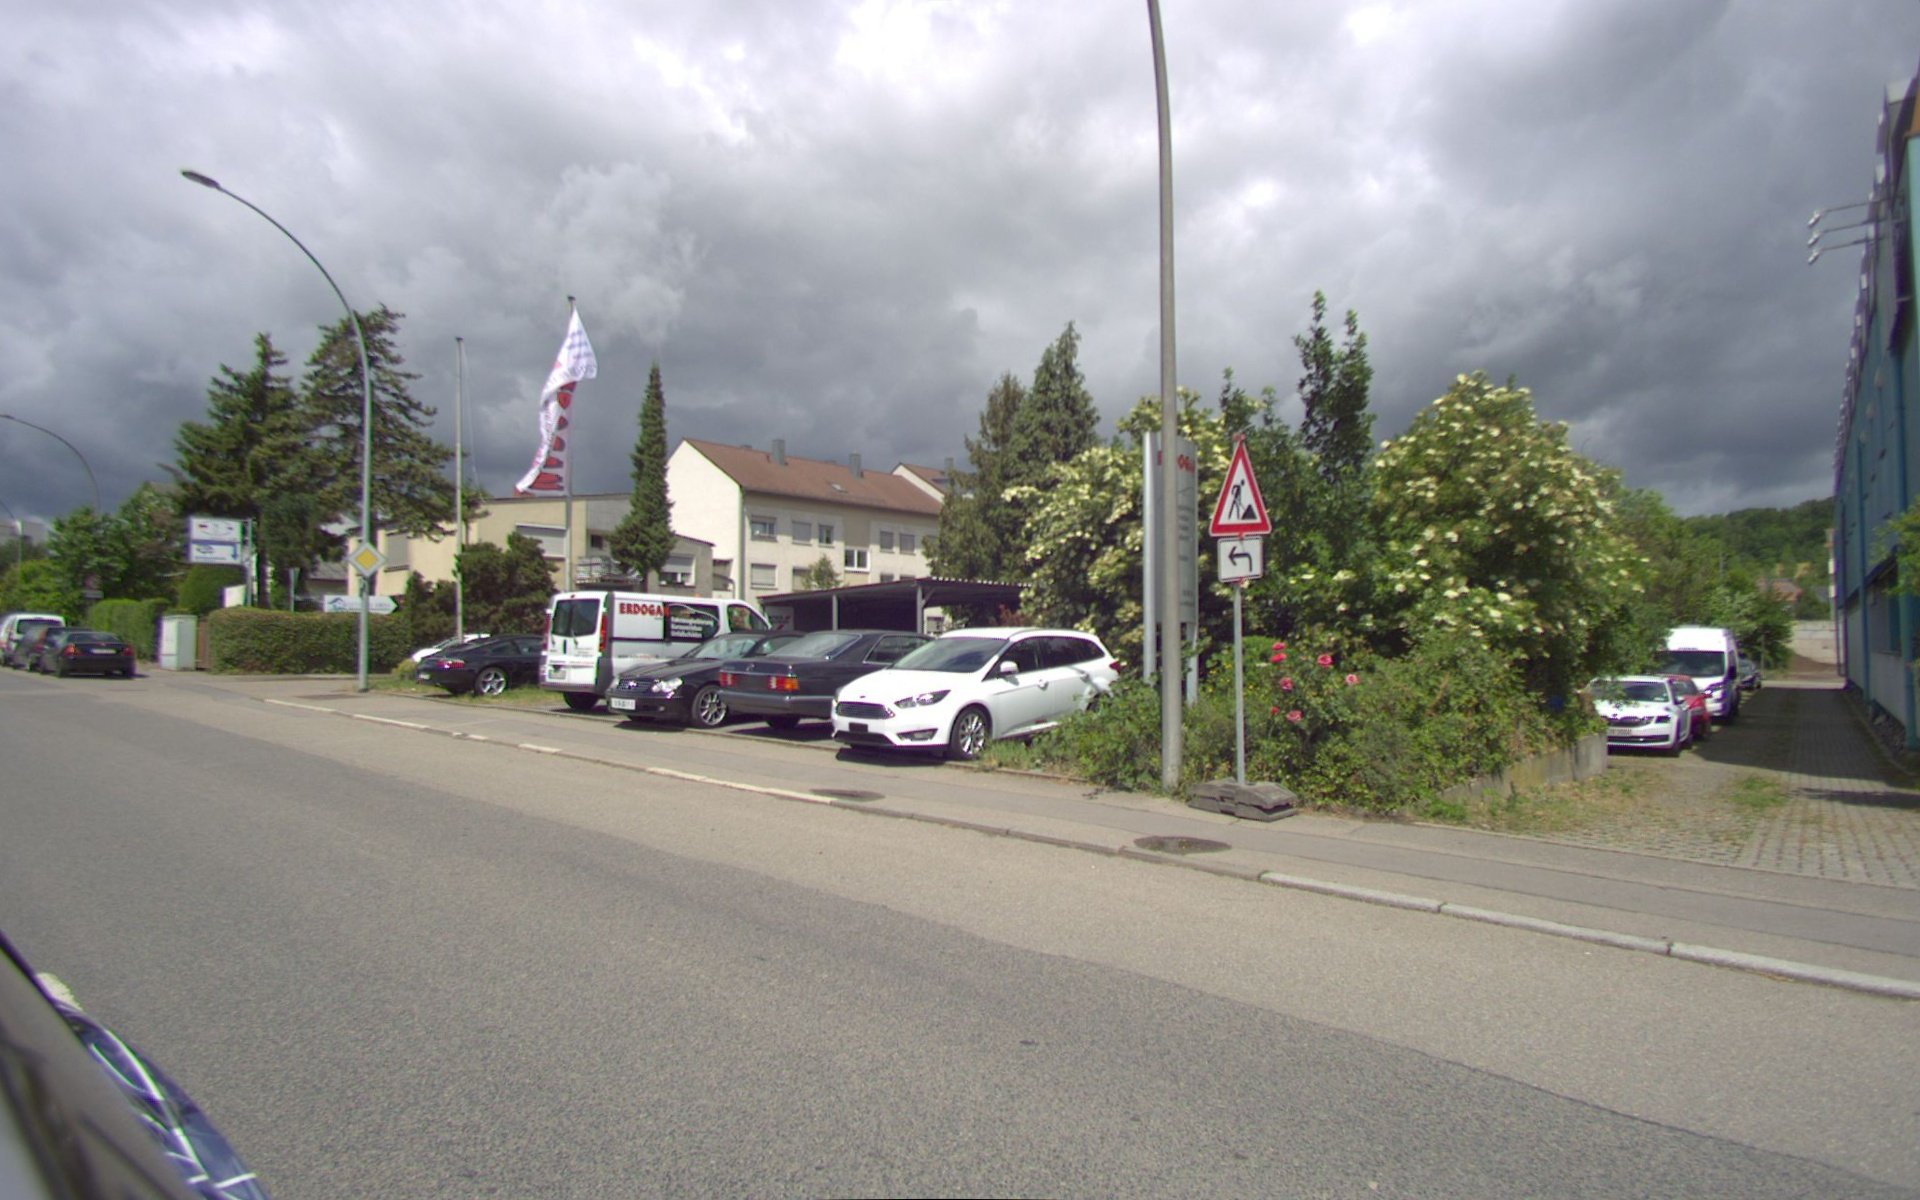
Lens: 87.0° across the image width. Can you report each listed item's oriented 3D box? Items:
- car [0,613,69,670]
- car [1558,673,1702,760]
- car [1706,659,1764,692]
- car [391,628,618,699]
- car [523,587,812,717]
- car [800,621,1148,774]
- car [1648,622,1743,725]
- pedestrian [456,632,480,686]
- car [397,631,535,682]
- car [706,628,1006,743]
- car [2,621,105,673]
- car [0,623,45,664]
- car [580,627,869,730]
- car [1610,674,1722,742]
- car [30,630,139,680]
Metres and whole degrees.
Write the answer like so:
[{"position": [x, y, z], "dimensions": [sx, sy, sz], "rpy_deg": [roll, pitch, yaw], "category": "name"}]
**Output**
[{"position": [-33.139, 1.480, 35.747], "dimensions": [4.352, 1.852, 1.726], "rpy_deg": [-2, -6, 40], "category": "car"}, {"position": [12.910, 2.135, 19.406], "dimensions": [1.997, 1.398, 3.949], "rpy_deg": [-2, -4, 38], "category": "car"}, {"position": [35.260, 3.402, 46.087], "dimensions": [1.997, 1.398, 3.949], "rpy_deg": [-2, -4, 38], "category": "car"}, {"position": [-9.489, 1.271, 21.314], "dimensions": [1.870, 1.213, 3.947], "rpy_deg": [-2, -1, 39], "category": "car"}, {"position": [-5.032, 0.890, 18.016], "dimensions": [2.112, 1.987, 4.607], "rpy_deg": [-2, -3, 37], "category": "car"}, {"position": [0.347, 1.037, 12.305], "dimensions": [1.871, 1.489, 4.328], "rpy_deg": [0, -2, 41], "category": "car"}, {"position": [21.029, 2.053, 28.905], "dimensions": [1.997, 2.685, 4.239], "rpy_deg": [-2, -4, 38], "category": "car"}, {"position": [-16.166, 1.924, 33.270], "dimensions": [0.621, 1.747, 0.686], "rpy_deg": [3, -3, -28], "category": "pedestrian"}, {"position": [-15.580, 1.819, 32.031], "dimensions": [1.613, 1.489, 3.514], "rpy_deg": [-2, -5, 42], "category": "car"}, {"position": [-1.337, 1.101, 14.175], "dimensions": [1.872, 1.365, 3.943], "rpy_deg": [-2, -3, 43], "category": "car"}, {"position": [-28.879, 1.508, 32.194], "dimensions": [4.640, 1.483, 1.726], "rpy_deg": [-2, -6, 40], "category": "car"}, {"position": [-37.449, 1.721, 39.758], "dimensions": [3.997, 1.498, 1.623], "rpy_deg": [-2, -6, 40], "category": "car"}, {"position": [-3.444, 1.095, 15.363], "dimensions": [1.870, 1.325, 3.947], "rpy_deg": [-1, -2, 40], "category": "car"}, {"position": [17.070, 2.527, 24.398], "dimensions": [1.997, 1.398, 3.949], "rpy_deg": [-2, -4, 38], "category": "car"}, {"position": [-25.283, 1.587, 29.177], "dimensions": [4.112, 1.314, 1.614], "rpy_deg": [-2, -6, 39], "category": "car"}]
